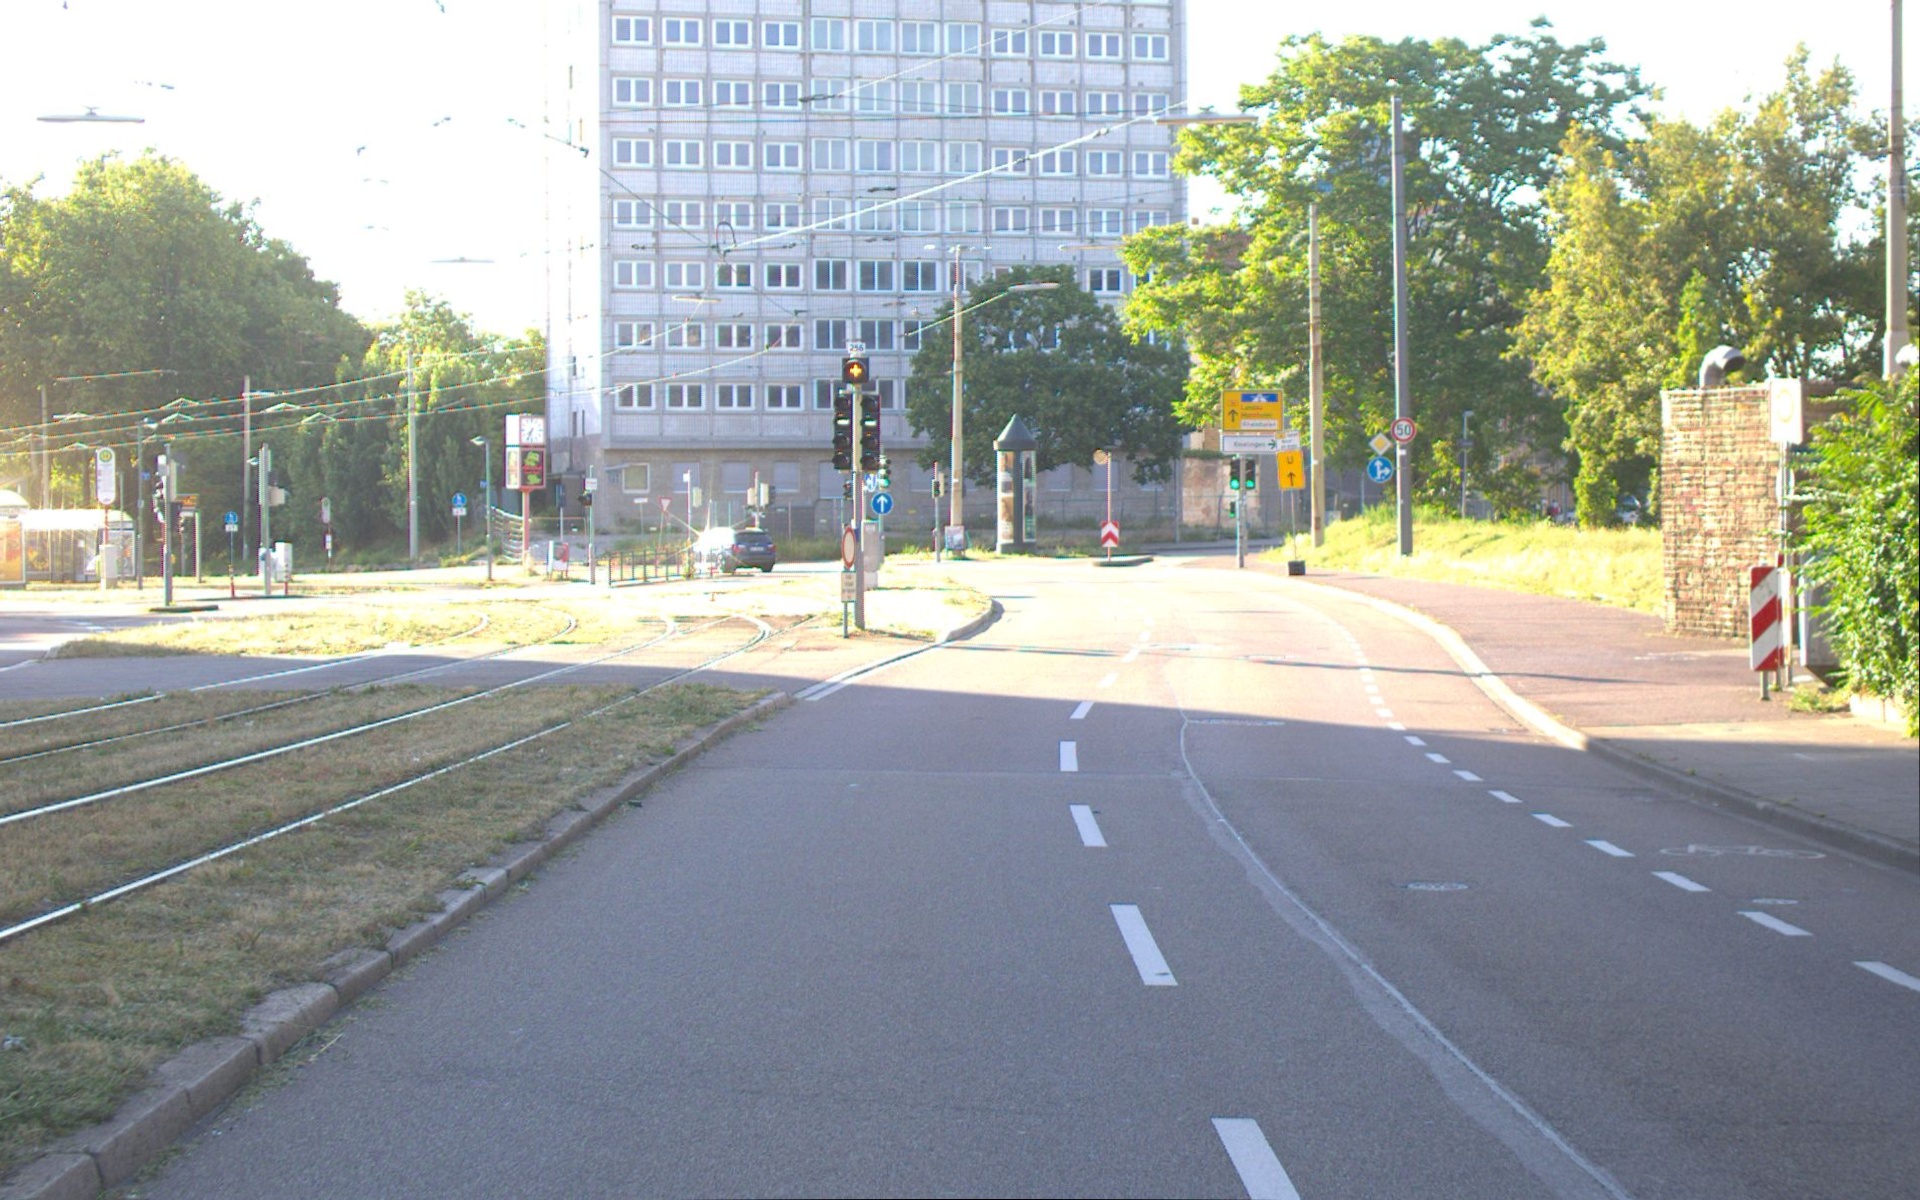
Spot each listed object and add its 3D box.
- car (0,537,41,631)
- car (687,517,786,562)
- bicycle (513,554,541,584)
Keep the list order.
[{"bbox_3d":[-18.594,-0.314,65.390,1.917,1.656,4.710,-2,2,-13],"label":"car"},{"bbox_3d":[-7.343,-1.986,112.823,1.772,1.417,3.856,-2,2,-28],"label":"car"},{"bbox_3d":[-14.323,-1.031,113.677,0.553,0.914,1.743,-3,2,4],"label":"bicycle"}]
